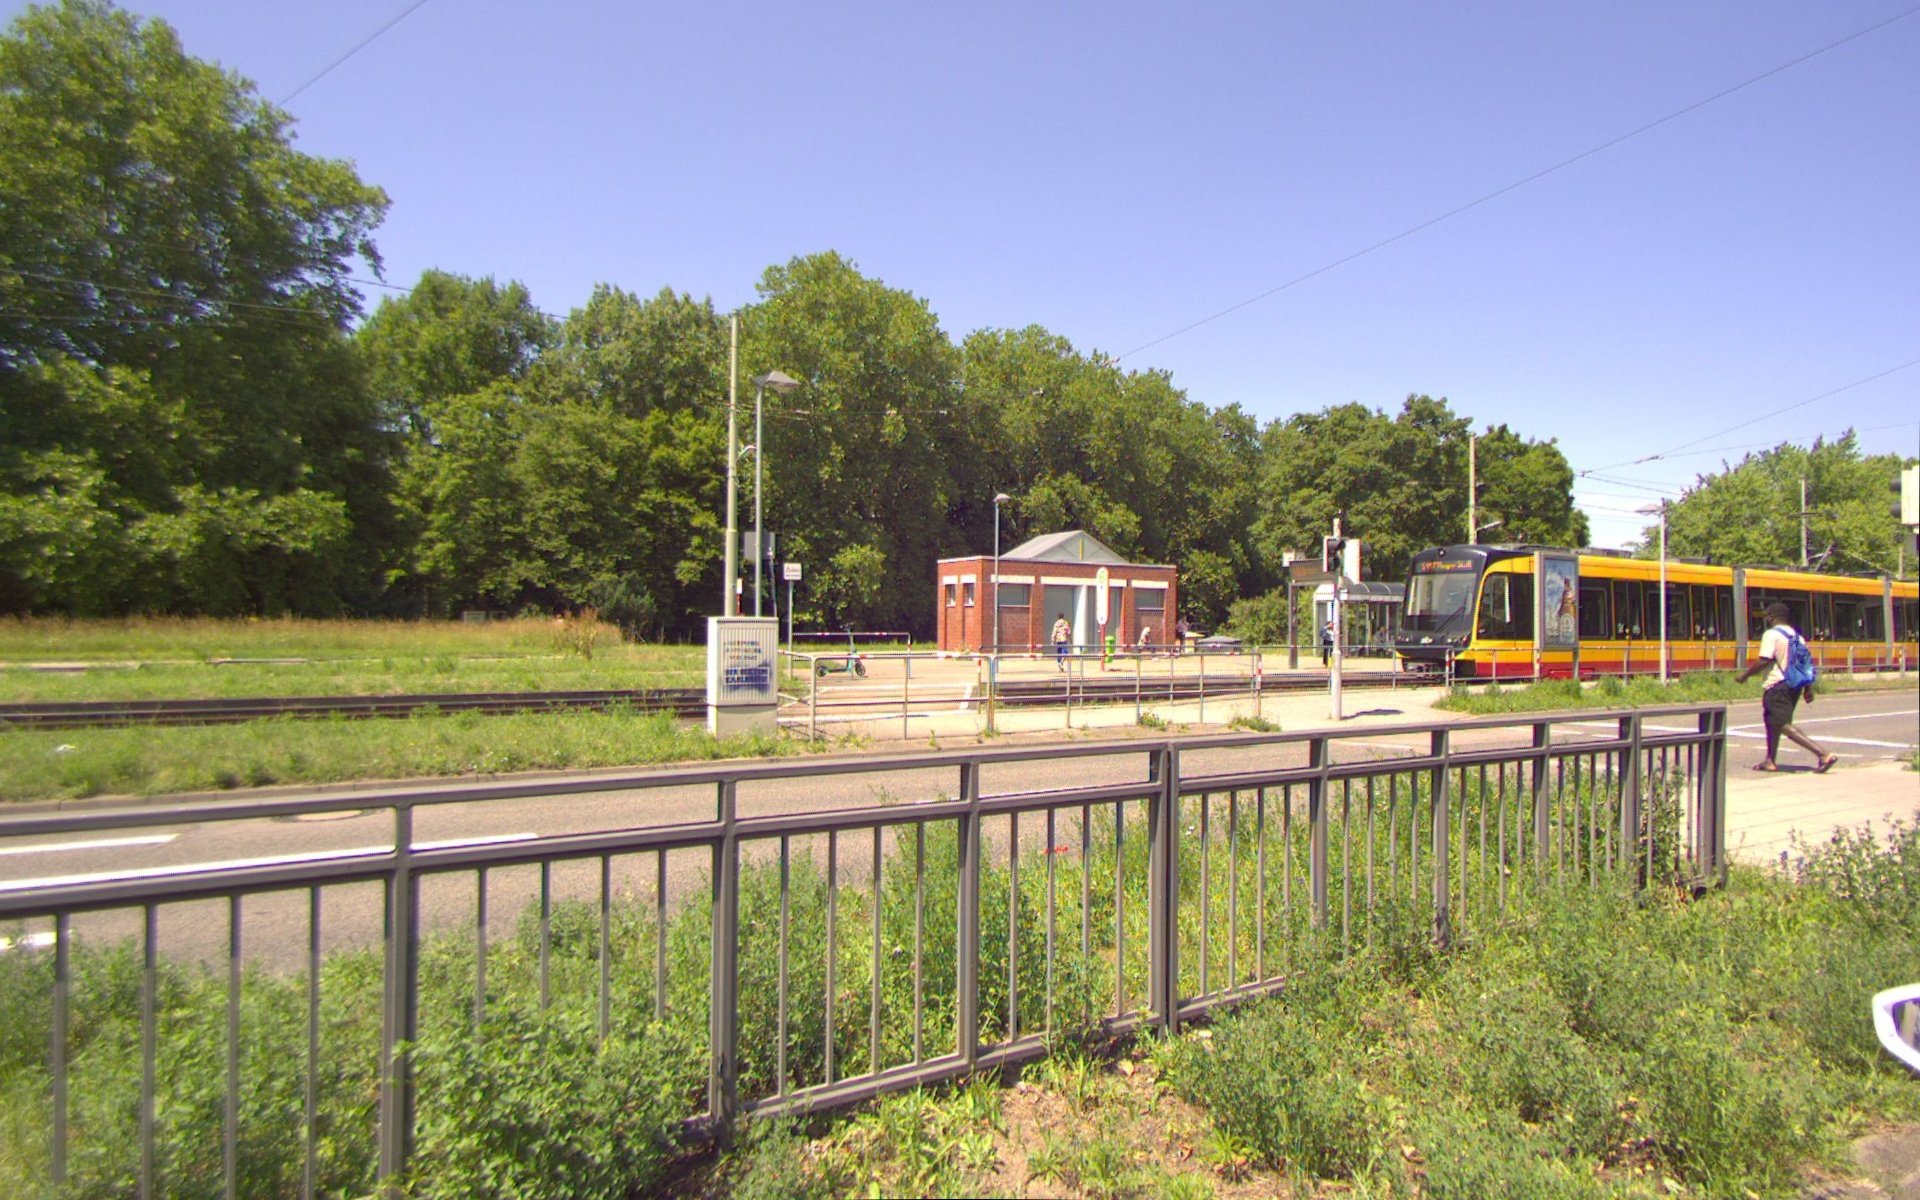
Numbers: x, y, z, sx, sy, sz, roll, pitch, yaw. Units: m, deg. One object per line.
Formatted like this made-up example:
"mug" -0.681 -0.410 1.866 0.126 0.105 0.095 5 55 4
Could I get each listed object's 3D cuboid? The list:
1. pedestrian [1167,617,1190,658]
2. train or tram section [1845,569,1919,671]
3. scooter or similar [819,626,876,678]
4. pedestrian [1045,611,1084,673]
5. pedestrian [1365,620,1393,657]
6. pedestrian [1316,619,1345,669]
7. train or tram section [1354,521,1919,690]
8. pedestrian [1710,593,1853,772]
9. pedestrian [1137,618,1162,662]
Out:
"pedestrian" 8.109 1.390 37.331 0.574 1.476 0.637 1 -1 -21
"train or tram section" 50.097 1.101 47.137 32.699 3.840 2.917 1 -1 -31
"scooter or similar" -2.634 1.211 23.450 1.217 1.183 0.508 1 -1 -30
"pedestrian" 2.790 1.117 26.775 0.801 1.611 0.666 1 -1 -39
"pedestrian" 17.249 1.581 41.372 0.710 1.531 0.841 1 -1 -19
"pedestrian" 11.929 1.405 32.378 0.688 1.575 0.629 1 -1 -42
"train or tram section" 23.327 0.444 31.307 29.680 3.799 2.944 1 -1 -31
"pedestrian" 8.761 0.876 10.734 0.711 1.800 0.836 -1 -5 -30
"pedestrian" 6.609 1.395 35.070 0.563 1.499 0.636 1 -1 -30
